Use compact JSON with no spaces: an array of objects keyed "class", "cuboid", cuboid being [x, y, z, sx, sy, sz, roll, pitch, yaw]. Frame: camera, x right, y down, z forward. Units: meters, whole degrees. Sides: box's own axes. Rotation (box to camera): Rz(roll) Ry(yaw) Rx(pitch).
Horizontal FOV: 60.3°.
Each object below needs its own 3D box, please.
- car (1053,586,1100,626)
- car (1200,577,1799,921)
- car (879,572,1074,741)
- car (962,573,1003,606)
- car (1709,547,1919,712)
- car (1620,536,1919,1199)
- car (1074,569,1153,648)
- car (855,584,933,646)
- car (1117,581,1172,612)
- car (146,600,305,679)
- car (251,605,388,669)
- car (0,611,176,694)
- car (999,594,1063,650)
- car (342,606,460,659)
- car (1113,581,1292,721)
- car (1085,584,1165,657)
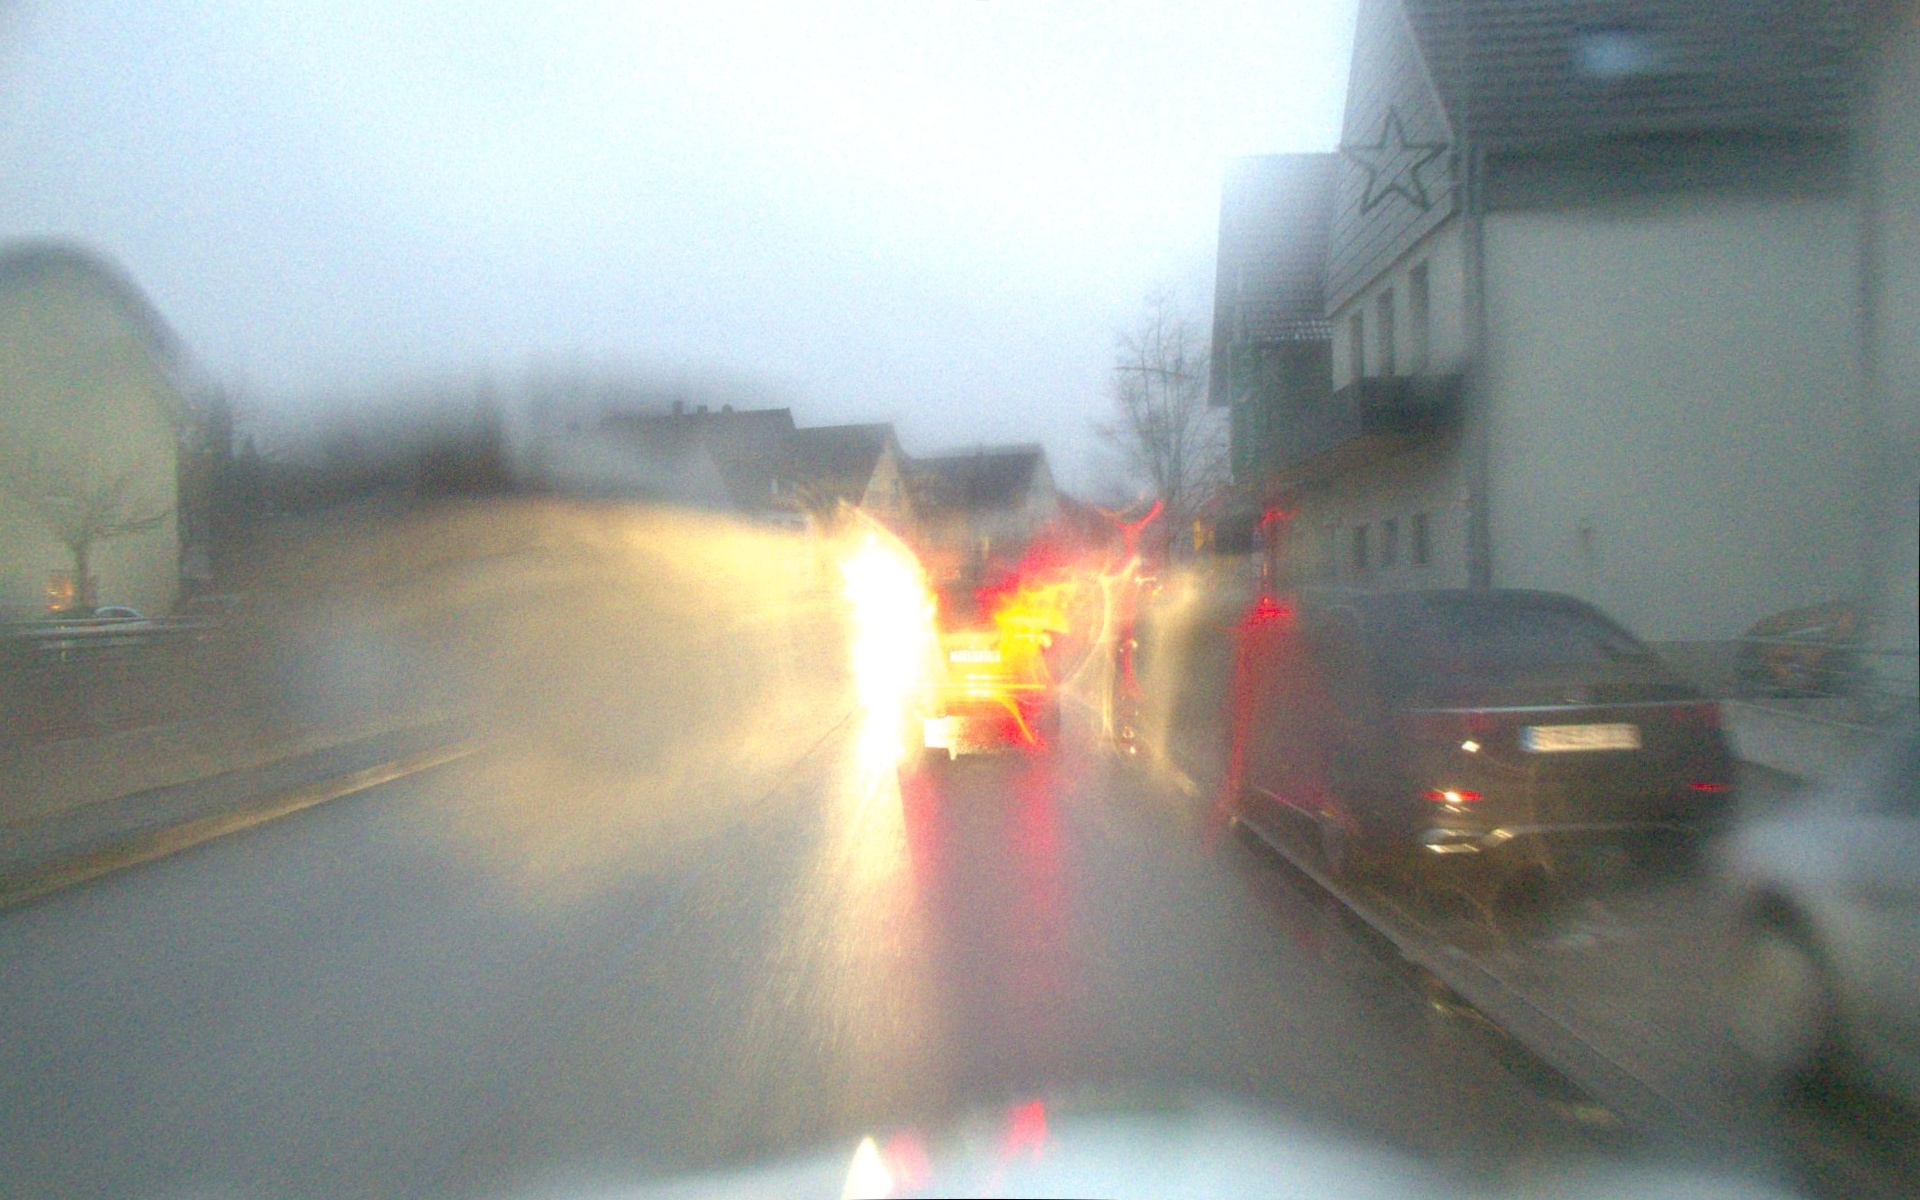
[{"class":"car","cuboid":[4.626,0.207,65.601,1.776,1.436,4.003,0,2,4]},{"class":"car","cuboid":[2.859,0.673,10.139,1.917,1.559,5.008,1,0,-1]},{"class":"car","cuboid":[0.122,0.519,18.501,1.924,1.622,4.313,0,1,-1]},{"class":"car","cuboid":[1.412,-0.695,105.407,2.000,1.959,4.049,-2,1,-9]},{"class":"car","cuboid":[10.184,0.248,17.073,4.059,1.582,1.865,-2,0,7]},{"class":"car","cuboid":[3.083,0.630,3.278,1.631,1.603,4.495,-2,0,-1]},{"class":"car","cuboid":[4.006,0.186,42.729,1.732,1.812,4.004,-4,0,8]},{"class":"car","cuboid":[-1.738,0.381,44.722,1.696,1.563,3.783,1,0,4]},{"class":"car","cuboid":[9.032,-0.192,80.771,1.951,1.416,4.003,-1,1,16]},{"class":"car","cuboid":[-19.622,1.006,44.407,1.834,1.809,4.505,-3,1,5]},{"class":"car","cuboid":[-19.106,1.069,49.572,1.834,1.600,4.505,-3,1,7]},{"class":"car","cuboid":[-20.314,1.177,38.371,1.834,1.626,4.228,-3,1,5]},{"class":"car","cuboid":[1.949,0.581,46.366,1.648,1.478,4.000,1,0,0]},{"class":"car","cuboid":[-18.338,1.045,54.506,1.834,1.458,4.505,-3,1,7]},{"class":"car","cuboid":[2.941,0.559,20.828,1.618,1.480,4.238,-4,0,1]},{"class":"car","cuboid":[3.652,0.437,36.925,1.611,1.440,2.729,-4,1,4]}]
